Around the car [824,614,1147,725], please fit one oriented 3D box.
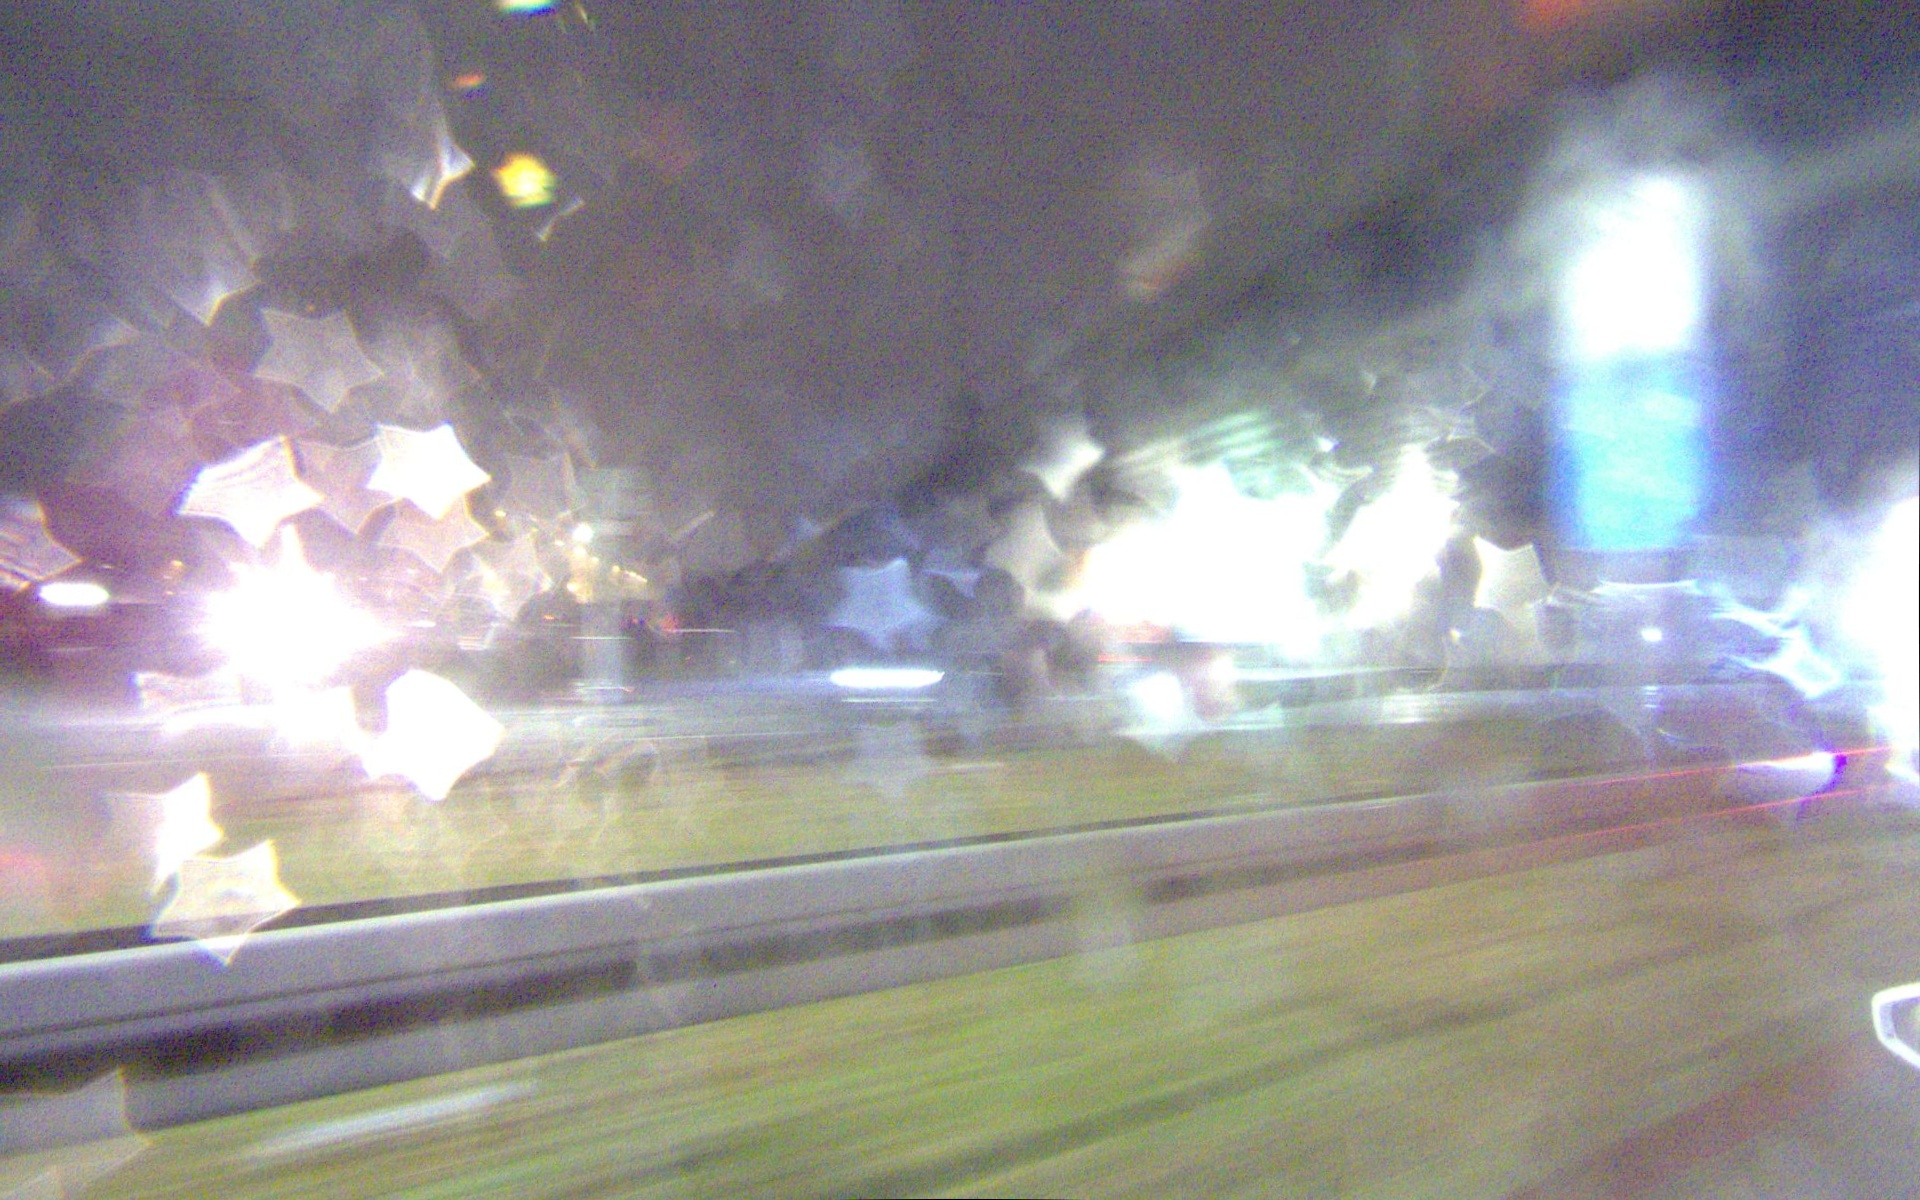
[{"bbox_3d":[0.453,0.977,15.064,4.561,1.408,1.884,2,0,-32],"label":"car"}]
